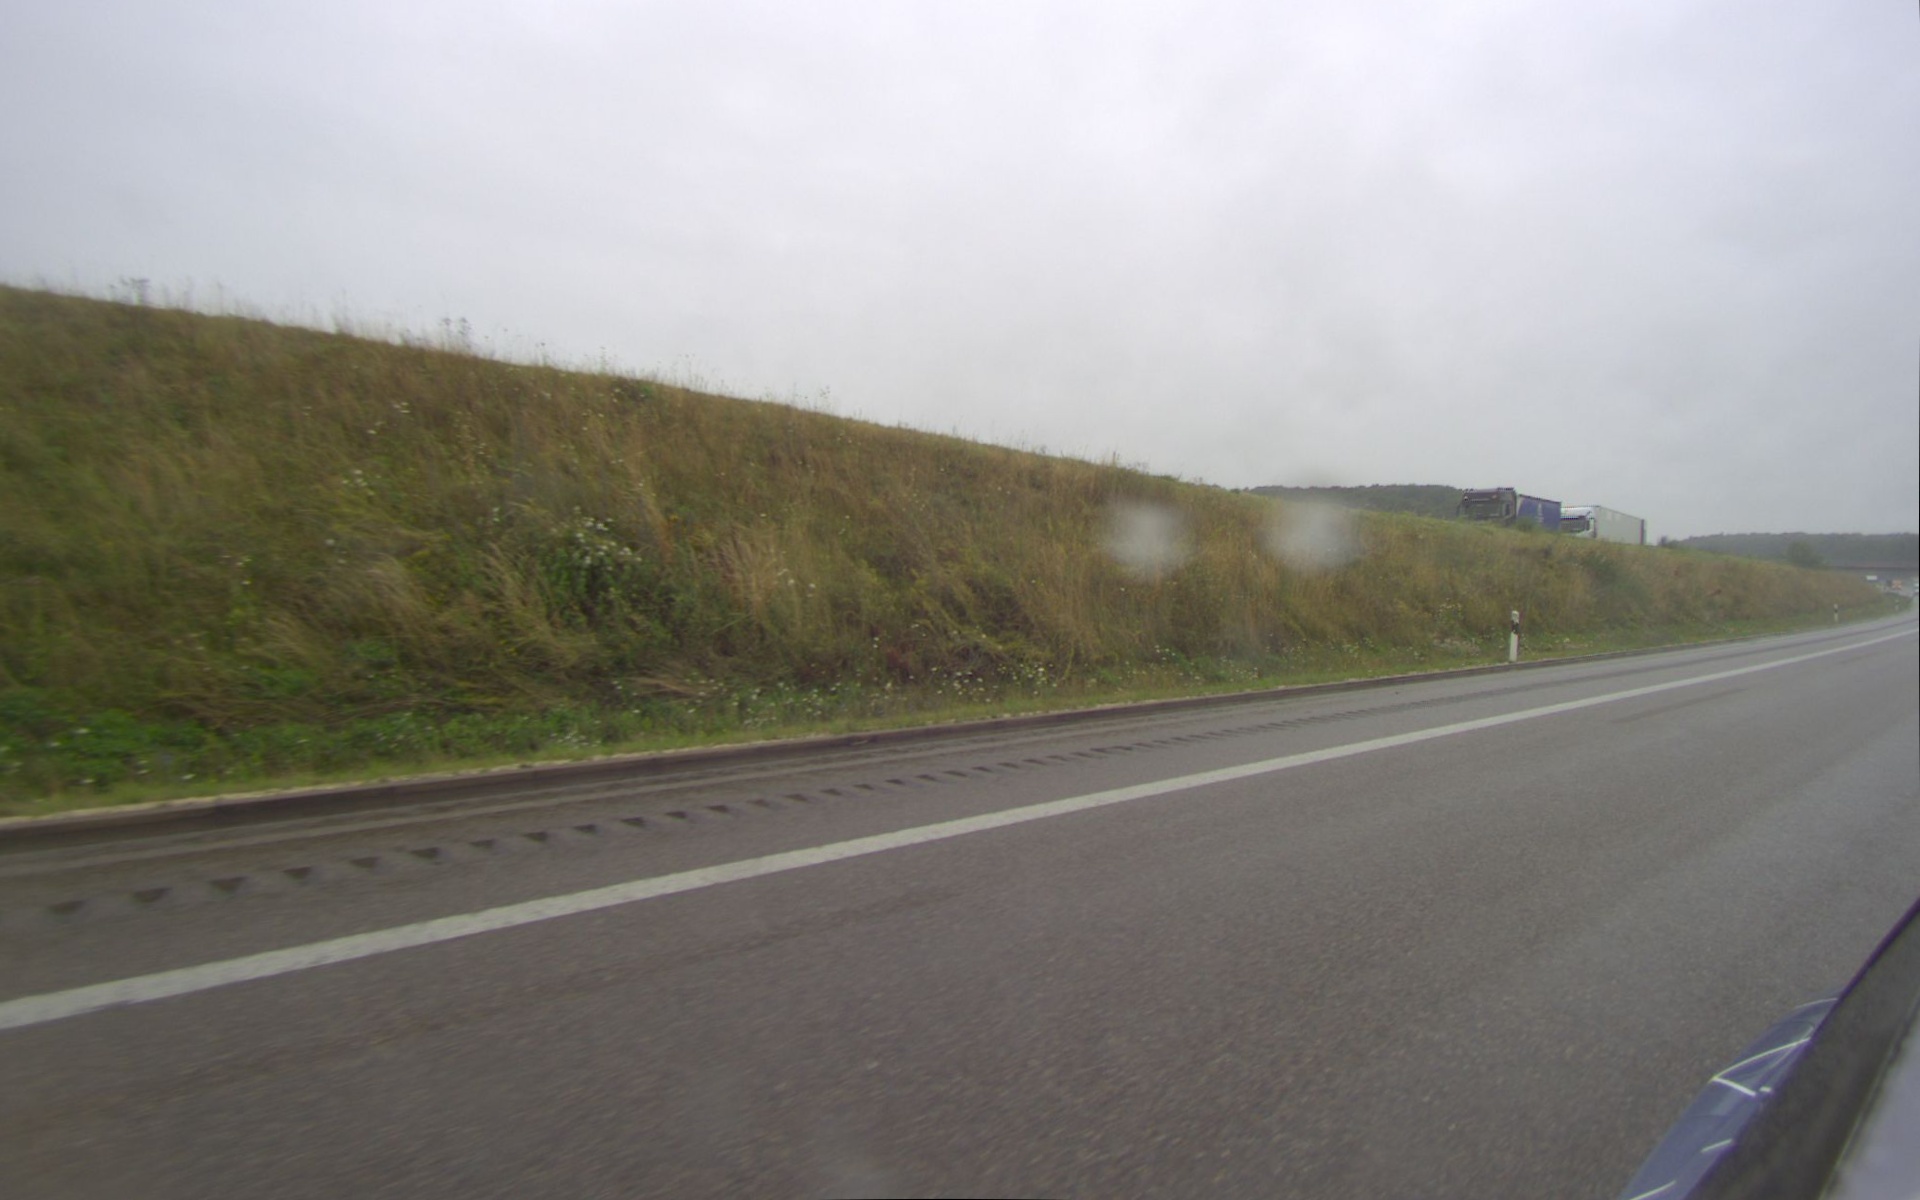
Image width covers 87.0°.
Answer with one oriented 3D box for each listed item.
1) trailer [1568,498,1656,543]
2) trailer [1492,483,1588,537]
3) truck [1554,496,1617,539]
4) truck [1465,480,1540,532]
[{"bbox_3d":[48.104,-5.738,74.442,12.747,2.636,2.384,-1,1,-43],"label":"trailer"},{"bbox_3d":[36.124,-5.471,62.829,9.243,2.790,2.300,-1,1,-41],"label":"trailer"},{"bbox_3d":[43.156,-5.658,69.818,4.994,2.599,2.427,-1,1,-42],"label":"truck"},{"bbox_3d":[31.539,-5.396,58.761,4.976,2.637,2.368,-1,1,-42],"label":"truck"}]
